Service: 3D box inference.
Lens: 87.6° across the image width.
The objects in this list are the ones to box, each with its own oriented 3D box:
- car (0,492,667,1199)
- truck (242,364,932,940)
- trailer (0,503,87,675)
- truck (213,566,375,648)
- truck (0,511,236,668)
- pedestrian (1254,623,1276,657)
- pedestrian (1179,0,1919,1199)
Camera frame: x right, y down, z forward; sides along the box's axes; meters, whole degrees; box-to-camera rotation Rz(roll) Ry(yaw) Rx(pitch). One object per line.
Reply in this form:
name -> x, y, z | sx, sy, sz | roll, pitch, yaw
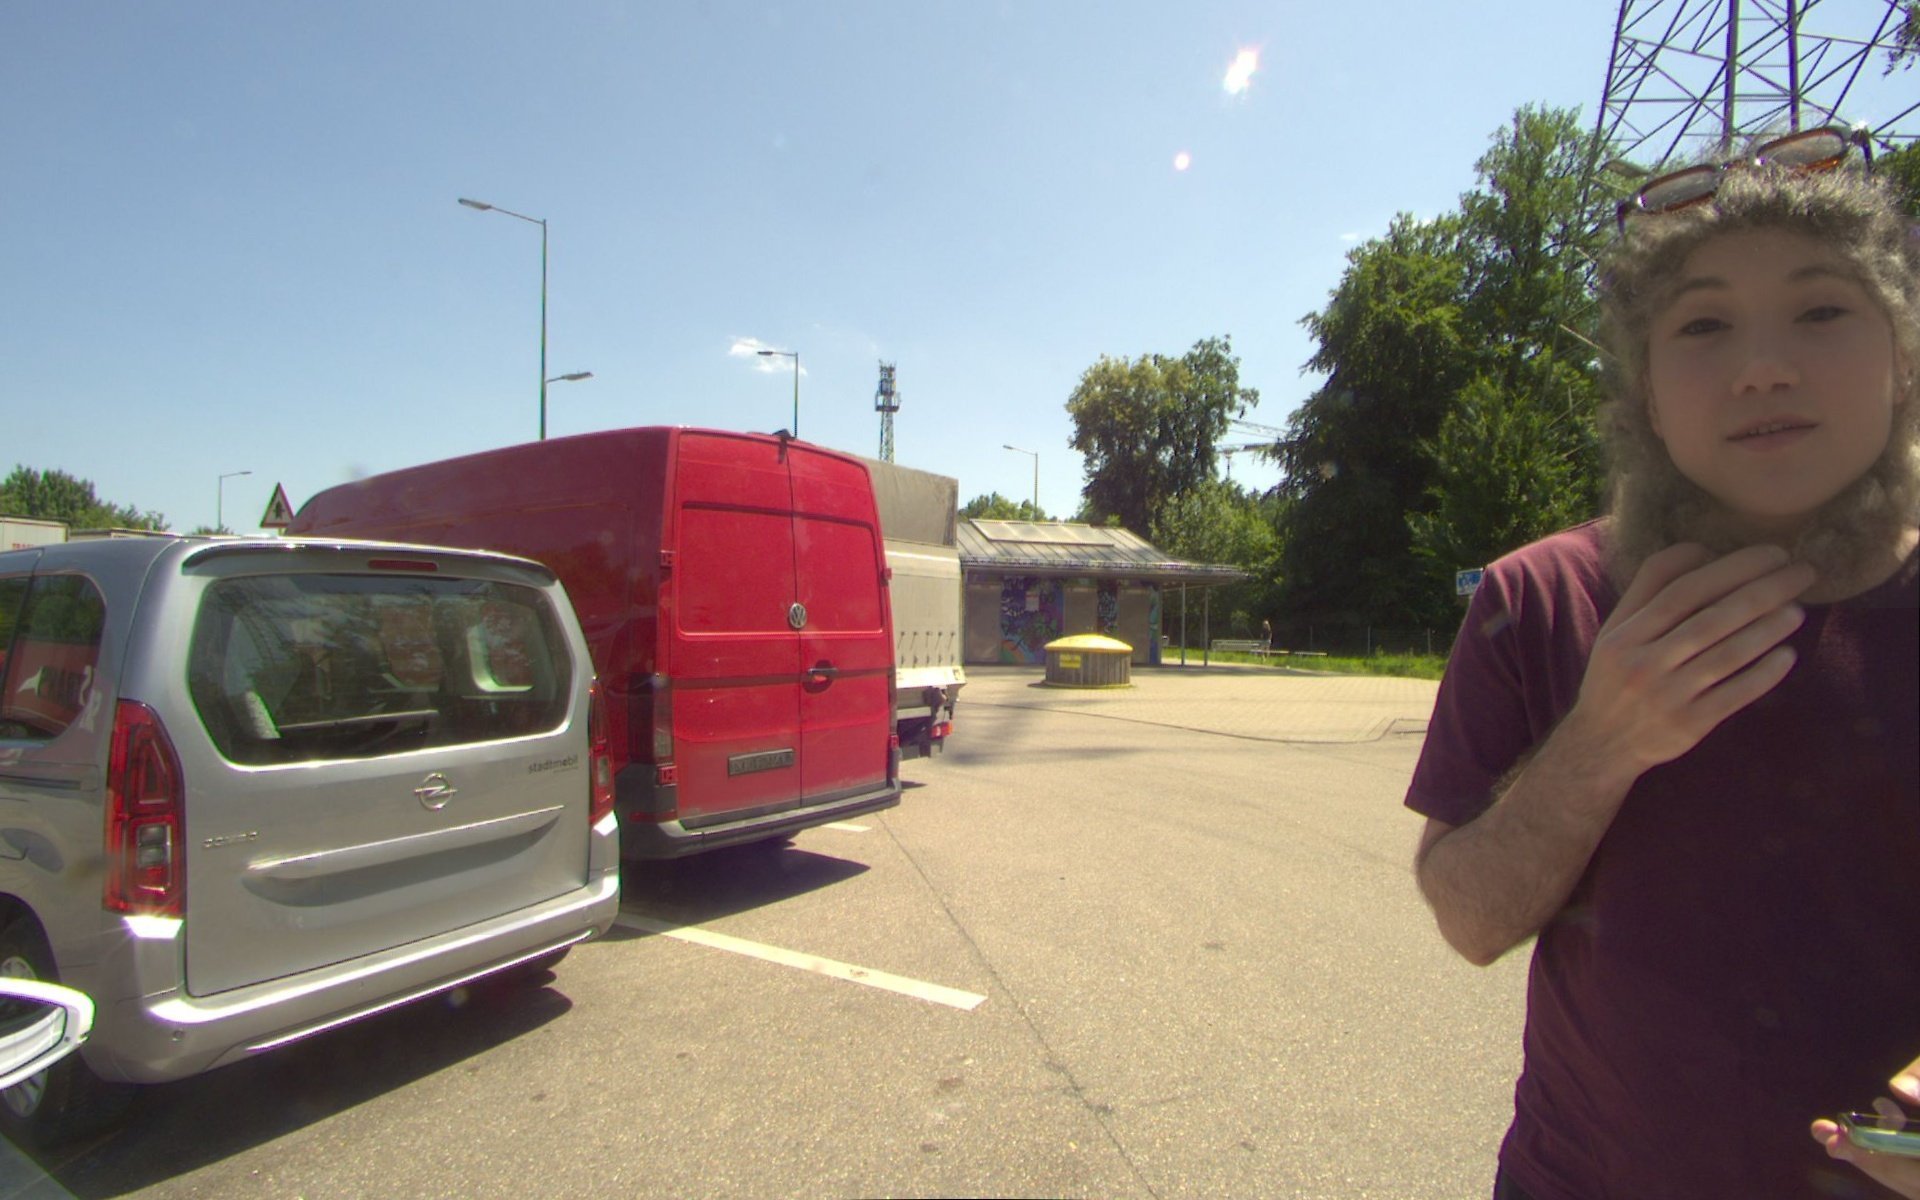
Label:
car -> -3.353, 0.638, 4.212 | 3.938, 1.776, 1.824 | 0, -1, 29
truck -> -2.867, 0.263, 6.997 | 5.233, 2.658, 1.987 | 0, -1, 37
trailer -> -28.803, -0.288, 28.028 | 13.374, 4.178, 2.871 | 0, -1, 33
truck -> -30.717, 0.324, 46.069 | 8.407, 3.482, 3.019 | 0, -1, 33
truck -> -27.994, -0.223, 31.785 | 14.316, 4.175, 2.901 | 0, -3, 33
pedestrian -> 12.644, 1.665, 41.534 | 0.579, 1.402, 0.754 | 1, 0, -8
pedestrian -> 0.741, 0.520, 0.816 | 0.926, 1.798, 0.827 | 1, 0, 28
